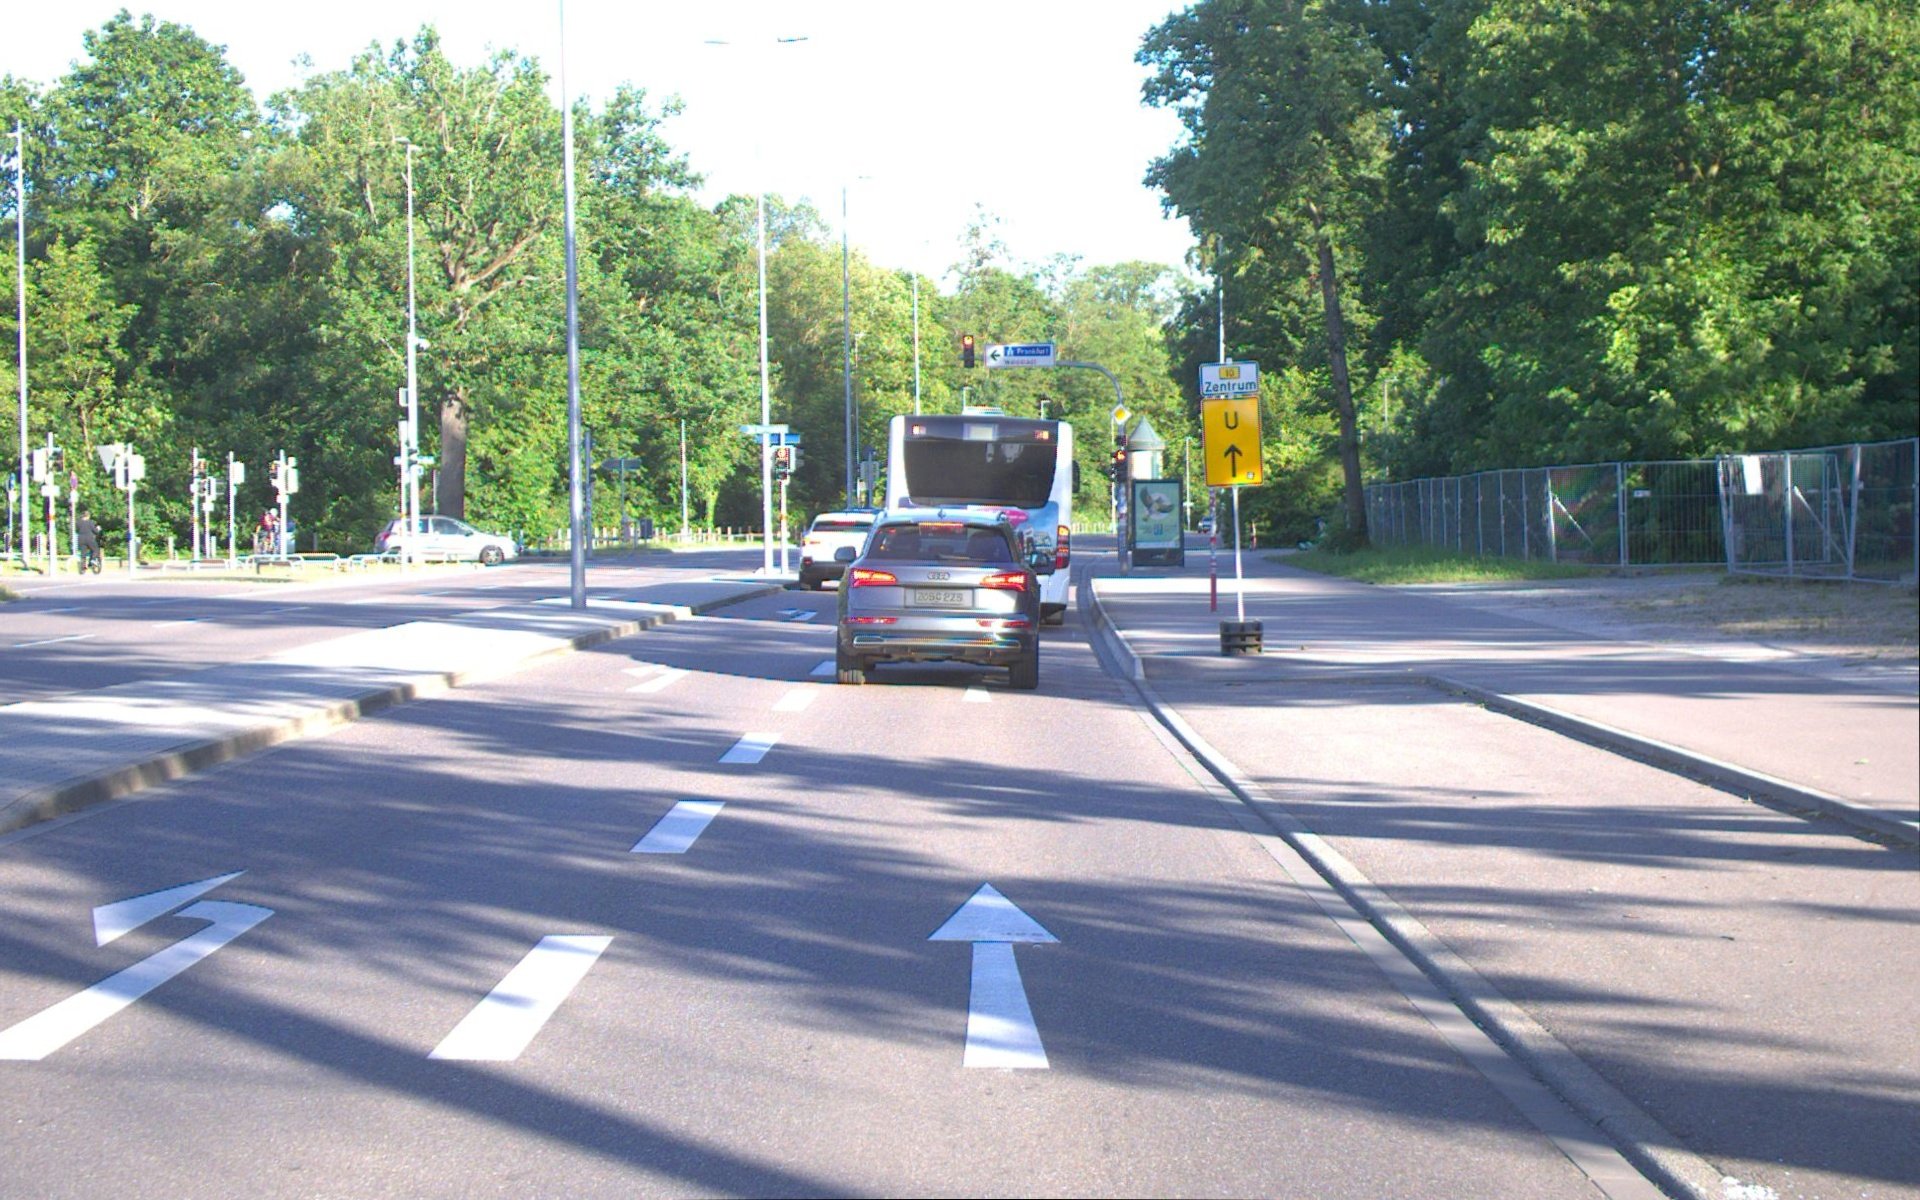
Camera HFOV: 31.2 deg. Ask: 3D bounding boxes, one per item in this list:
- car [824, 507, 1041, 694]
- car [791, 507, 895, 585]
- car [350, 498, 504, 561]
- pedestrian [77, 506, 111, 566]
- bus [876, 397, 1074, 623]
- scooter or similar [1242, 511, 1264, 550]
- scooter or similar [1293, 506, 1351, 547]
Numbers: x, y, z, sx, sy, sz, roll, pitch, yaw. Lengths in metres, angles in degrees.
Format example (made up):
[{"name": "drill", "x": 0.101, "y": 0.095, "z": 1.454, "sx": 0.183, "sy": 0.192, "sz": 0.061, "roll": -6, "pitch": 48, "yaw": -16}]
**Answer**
[{"name": "car", "x": -0.200, "y": -0.049, "z": 32.801, "sx": 1.898, "sy": 1.626, "sz": 4.000, "roll": 1, "pitch": 2, "yaw": 2}, {"name": "car", "x": -2.312, "y": -1.108, "z": 68.894, "sx": 1.836, "sy": 1.513, "sz": 4.000, "roll": 0, "pitch": 2, "yaw": 2}, {"name": "car", "x": -14.861, "y": -1.963, "z": 95.852, "sx": 3.986, "sy": 1.634, "sz": 2.066, "roll": -2, "pitch": 1, "yaw": -15}, {"name": "pedestrian", "x": -22.731, "y": -1.675, "z": 90.235, "sx": 0.647, "sy": 1.554, "sz": 0.539, "roll": -2, "pitch": 2, "yaw": -40}, {"name": "bus", "x": 0.326, "y": -1.297, "z": 50.709, "sx": 2.595, "sy": 2.978, "sz": 9.327, "roll": 1, "pitch": 1, "yaw": 2}, {"name": "scooter or similar", "x": 10.853, "y": -2.577, "z": 127.439, "sx": 0.508, "sy": 1.439, "sz": 2.023, "roll": -1, "pitch": 2, "yaw": -3}, {"name": "scooter or similar", "x": 13.157, "y": -2.664, "z": 124.972, "sx": 2.015, "sy": 1.439, "sz": 0.606, "roll": -2, "pitch": 2, "yaw": -22}]
